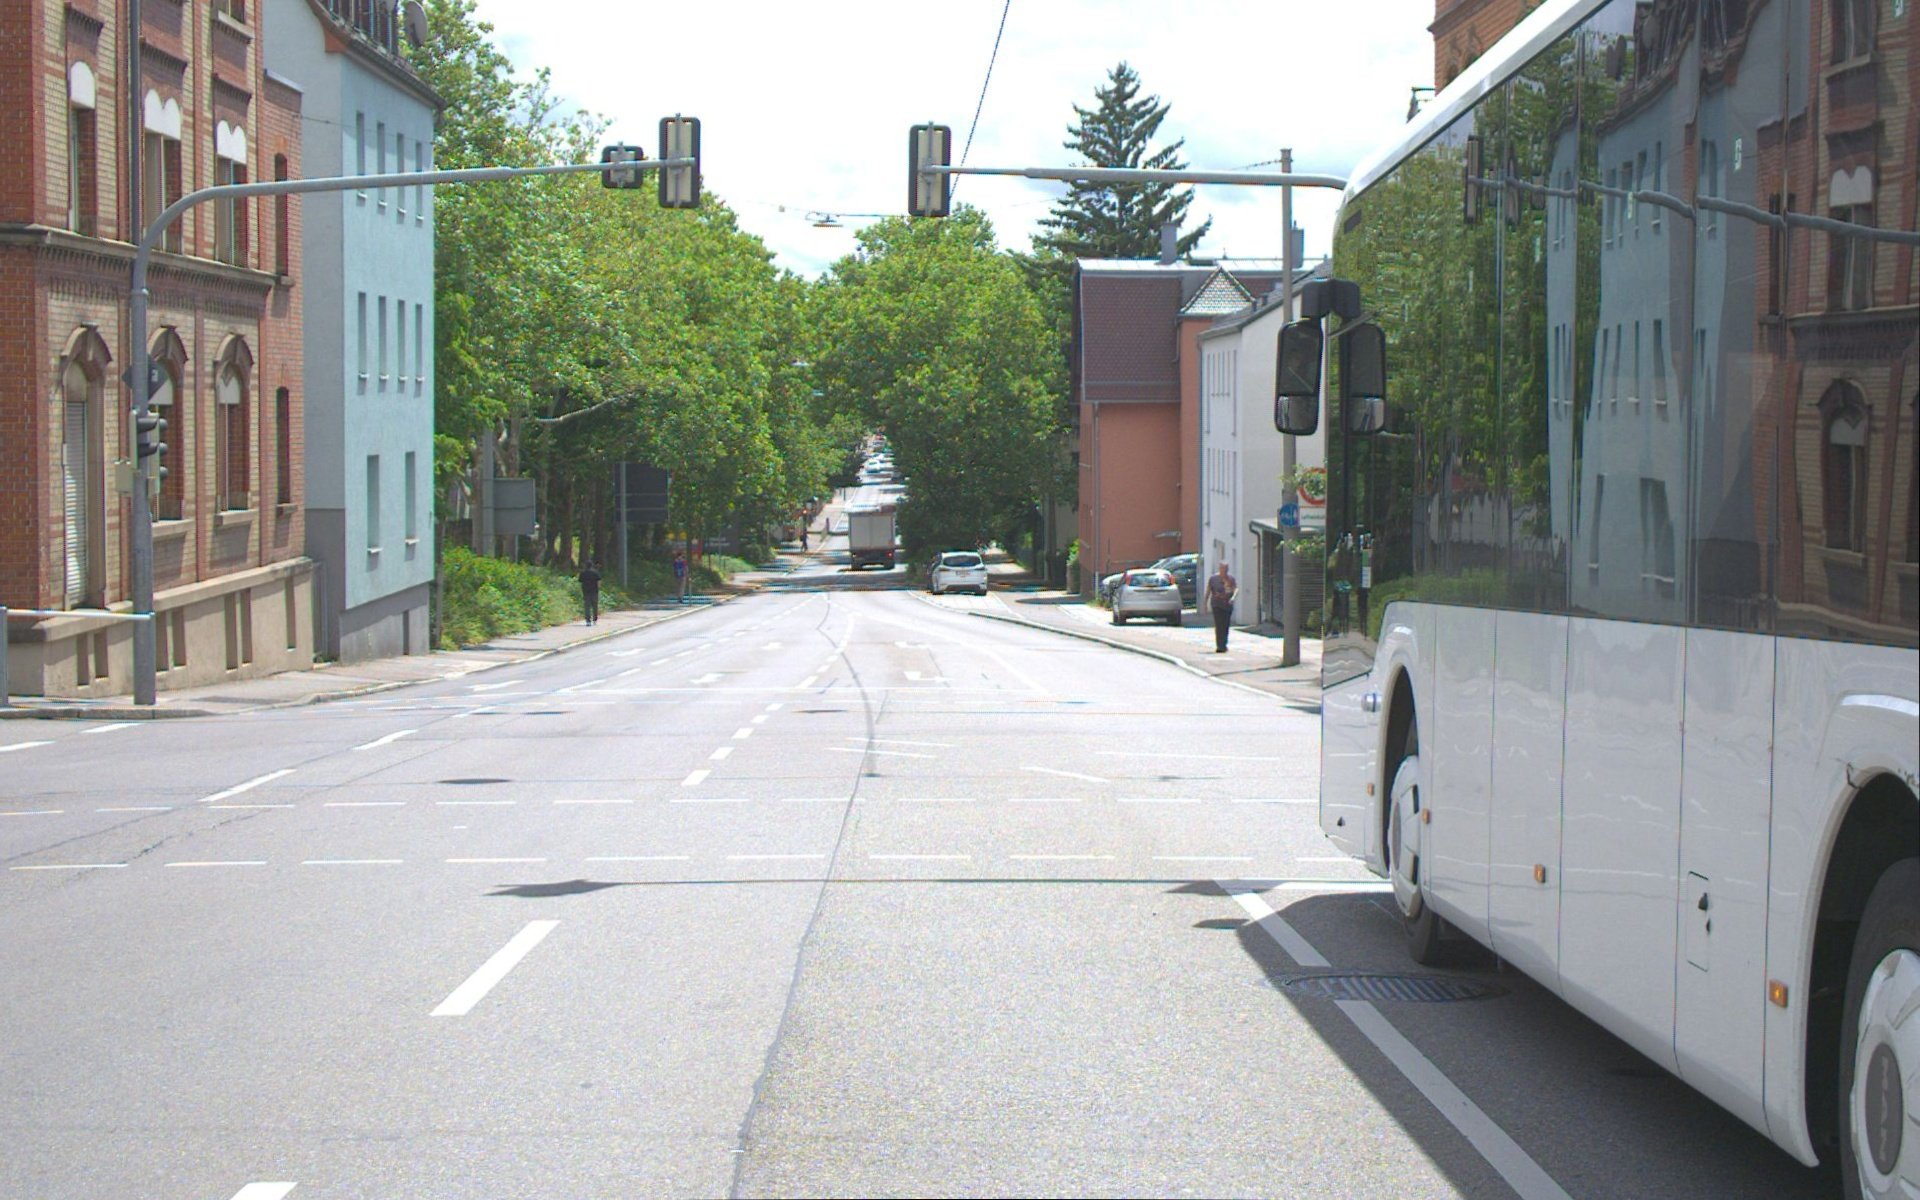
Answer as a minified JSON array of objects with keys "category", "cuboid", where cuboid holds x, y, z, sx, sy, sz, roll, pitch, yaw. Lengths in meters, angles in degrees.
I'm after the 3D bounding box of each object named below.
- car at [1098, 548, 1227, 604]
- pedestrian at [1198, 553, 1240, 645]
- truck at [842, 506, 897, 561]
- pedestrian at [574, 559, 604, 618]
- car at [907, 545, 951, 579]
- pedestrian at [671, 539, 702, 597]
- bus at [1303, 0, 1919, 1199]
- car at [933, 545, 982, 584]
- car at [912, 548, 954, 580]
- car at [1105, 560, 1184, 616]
[{"category":"car","cuboid":[6.654,-0.805,113.165,3.986,1.751,2.000,-1,1,-5]},{"category":"pedestrian","cuboid":[4.965,-0.027,65.980,0.738,1.744,0.619,-1,1,-1]},{"category":"truck","cuboid":[-5.199,-3.827,197.137,2.926,3.070,7.886,-1,1,-3]},{"category":"pedestrian","cuboid":[-9.779,-0.308,90.537,0.729,1.560,0.561,0,1,-1]},{"category":"car","cuboid":[-1.293,-1.614,145.821,1.794,1.405,4.419,1,1,0]},{"category":"pedestrian","cuboid":[-9.593,-1.132,120.780,0.995,2.007,1.189,-1,1,-1]},{"category":"bus","cuboid":[2.937,-0.214,9.218,2.672,3.145,12.462,0,1,-1]},{"category":"car","cuboid":[-0.115,-1.335,129.455,1.794,1.405,4.000,1,1,-1]},{"category":"car","cuboid":[-1.194,-1.621,153.928,1.794,1.405,4.419,1,1,0]},{"category":"car","cuboid":[4.979,-0.351,93.067,1.794,1.405,4.001,-1,1,-2]}]
